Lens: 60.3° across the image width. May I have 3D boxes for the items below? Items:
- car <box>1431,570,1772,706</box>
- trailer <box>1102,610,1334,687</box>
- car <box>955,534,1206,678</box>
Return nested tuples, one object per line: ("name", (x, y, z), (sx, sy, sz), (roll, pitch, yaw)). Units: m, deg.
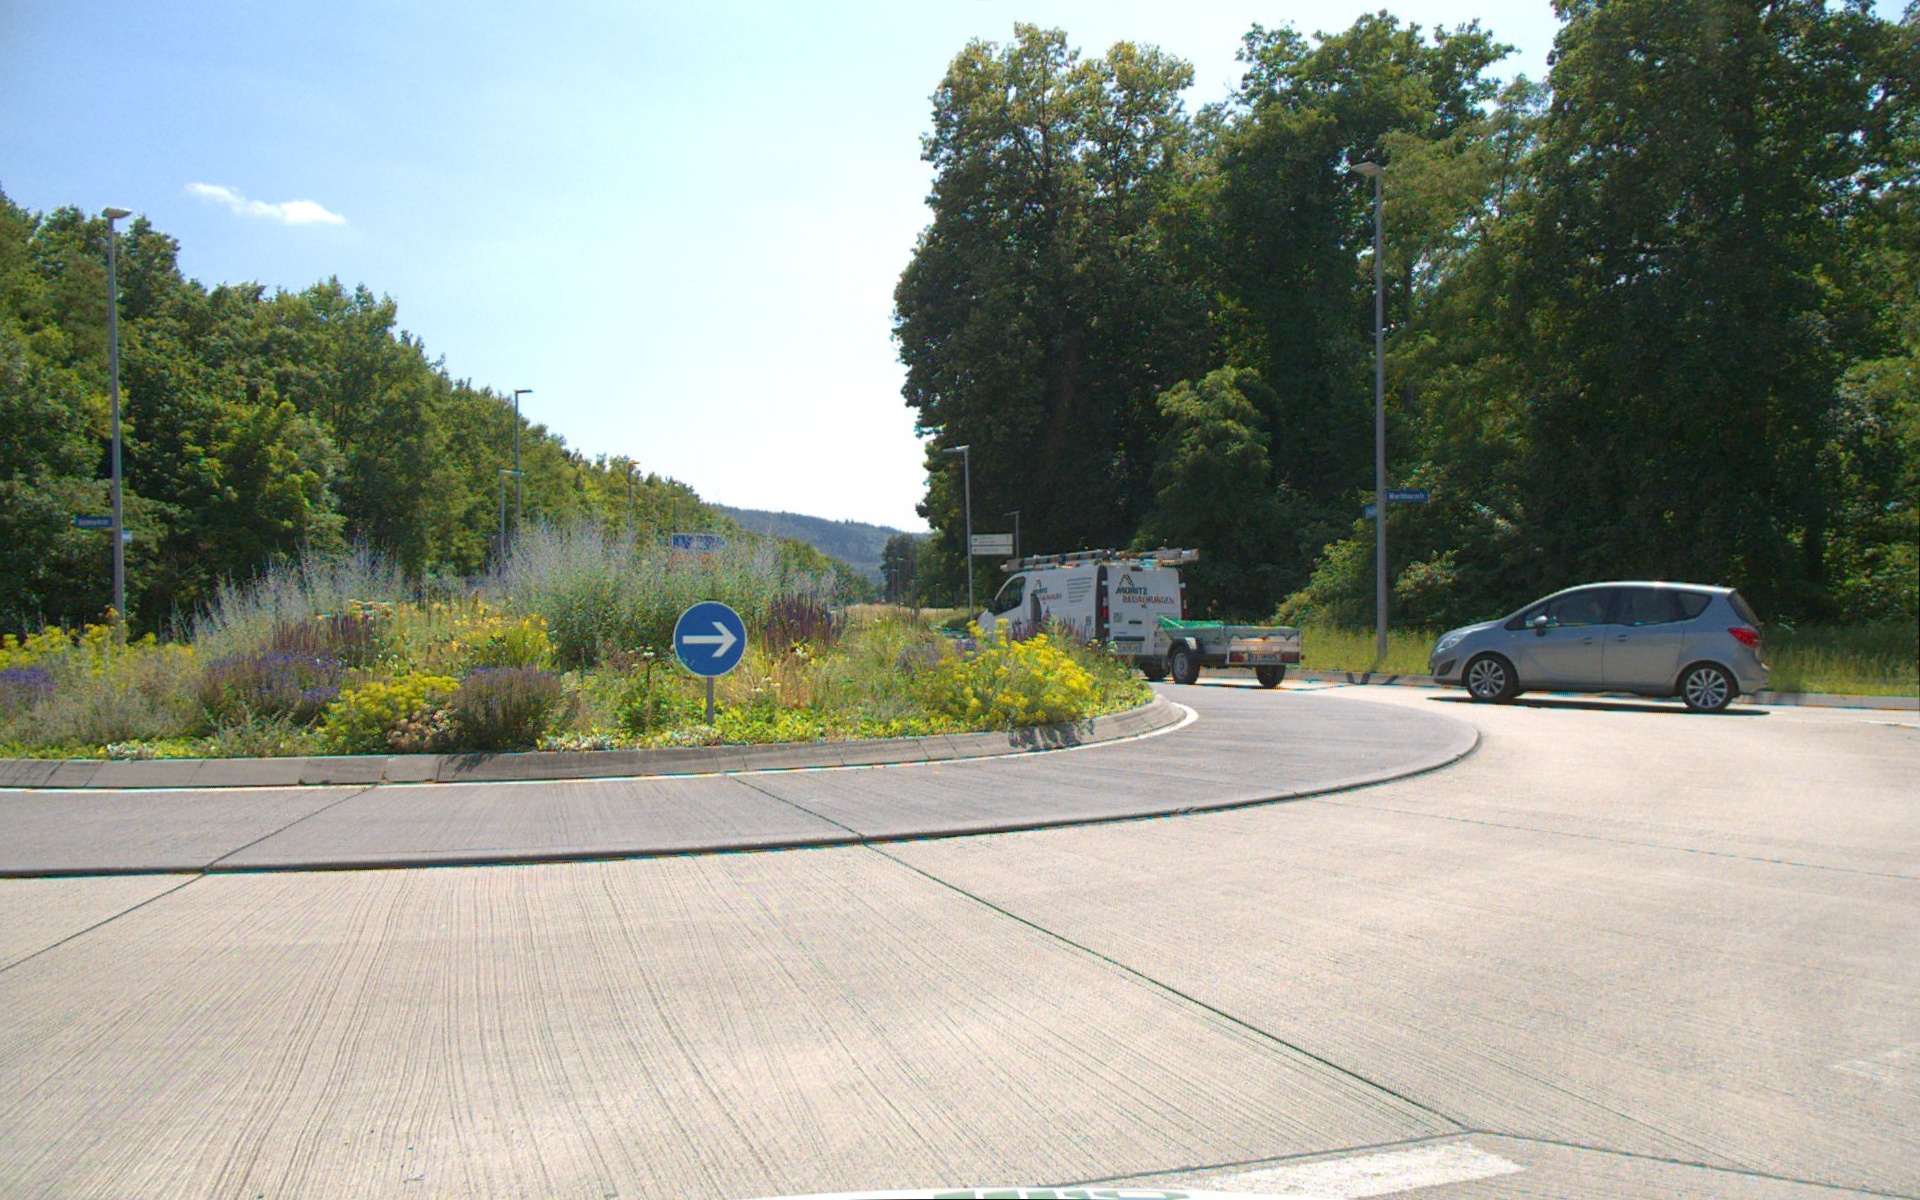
("car", (8.390, 0.465, 21.663), (4.034, 1.635, 1.788), (0, -1, 27))
("trailer", (3.993, 0.719, 26.011), (2.096, 1.116, 3.325), (0, -1, -27))
("car", (2.040, 0.120, 29.667), (2.143, 2.357, 4.931), (1, -1, -30))
